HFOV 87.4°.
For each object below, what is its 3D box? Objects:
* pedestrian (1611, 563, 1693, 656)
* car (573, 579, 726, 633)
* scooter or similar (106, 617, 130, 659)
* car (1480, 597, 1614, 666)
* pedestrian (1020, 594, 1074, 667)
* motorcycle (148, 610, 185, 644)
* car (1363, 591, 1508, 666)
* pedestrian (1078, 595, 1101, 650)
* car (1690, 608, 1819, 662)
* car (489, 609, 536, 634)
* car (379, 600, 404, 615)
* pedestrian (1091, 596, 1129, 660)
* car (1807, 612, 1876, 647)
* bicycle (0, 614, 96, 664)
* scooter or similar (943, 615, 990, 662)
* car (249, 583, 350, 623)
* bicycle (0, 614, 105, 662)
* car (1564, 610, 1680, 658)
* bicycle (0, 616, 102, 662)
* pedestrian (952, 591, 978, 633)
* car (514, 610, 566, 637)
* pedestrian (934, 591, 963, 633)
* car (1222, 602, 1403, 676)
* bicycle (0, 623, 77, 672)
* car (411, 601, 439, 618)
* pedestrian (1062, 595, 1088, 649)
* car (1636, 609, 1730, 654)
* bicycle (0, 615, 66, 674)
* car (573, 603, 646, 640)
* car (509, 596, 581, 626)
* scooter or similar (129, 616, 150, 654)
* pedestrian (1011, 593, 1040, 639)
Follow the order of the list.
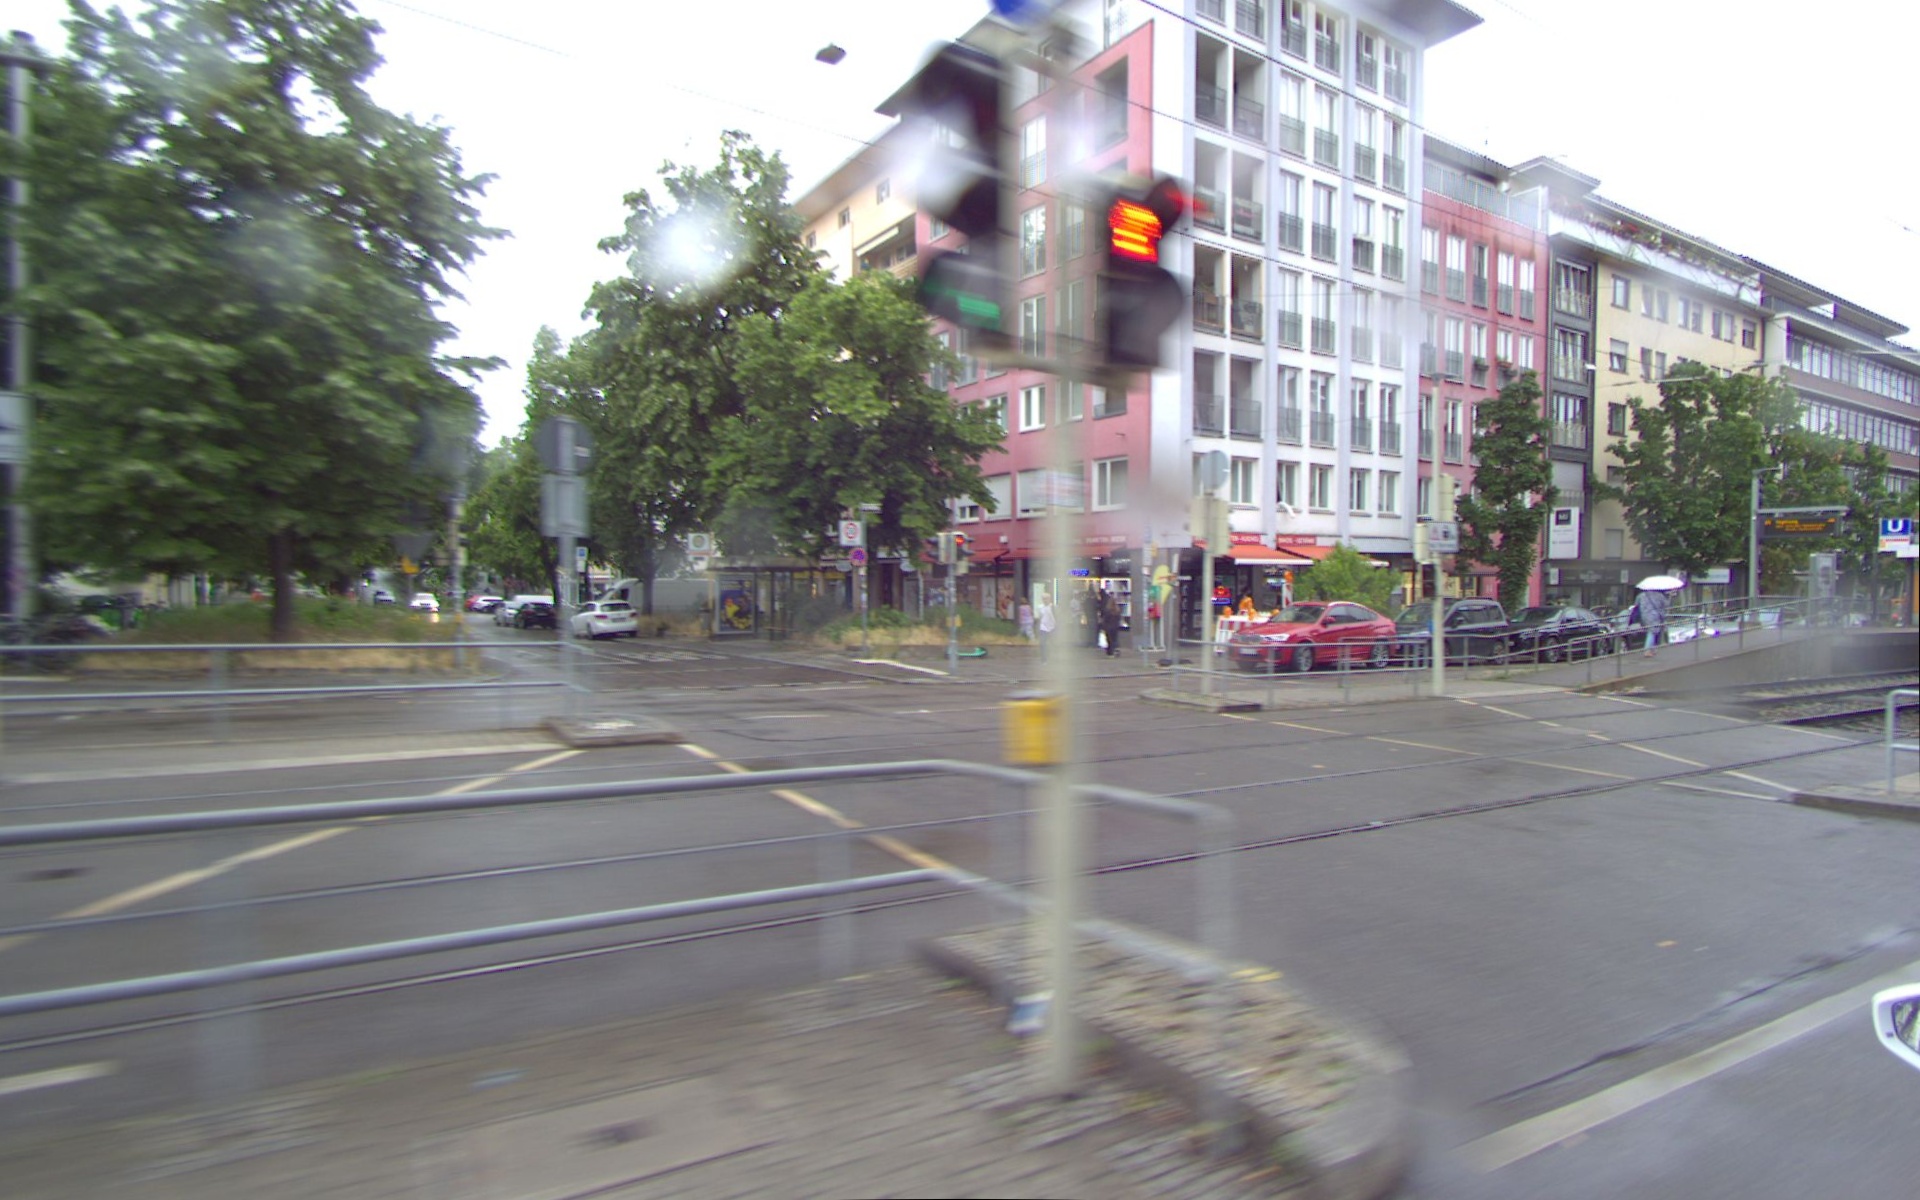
[{"bbox_3d":[15.776,0.222,22.911,1.368,2.040,1.109,1,-1,-33],"label":"pedestrian"},{"bbox_3d":[-15.574,0.330,50.628,7.019,2.568,2.402,1,-1,-32],"label":"car"},{"bbox_3d":[-20.729,0.920,24.724,0.280,0.994,1.123,1,-1,-32],"label":"scooter or similar"},{"bbox_3d":[17.198,0.886,29.371,4.338,1.883,1.790,1,0,-36],"label":"car"},{"bbox_3d":[2.131,0.729,24.528,0.978,1.720,0.812,1,2,-41],"label":"pedestrian"},{"bbox_3d":[-24.915,0.832,31.553,0.739,1.021,1.839,1,-1,-33],"label":"motorcycle"},{"bbox_3d":[12.933,0.731,27.226,4.279,1.883,1.695,1,0,-36],"label":"car"},{"bbox_3d":[4.015,0.690,31.166,0.535,1.653,0.574,2,1,21],"label":"pedestrian"},{"bbox_3d":[25.774,1.097,32.550,4.966,1.599,1.796,1,0,-33],"label":"car"},{"bbox_3d":[-26.924,1.281,60.372,2.074,1.392,4.411,1,-1,-31],"label":"car"},{"bbox_3d":[-54.286,0.729,95.812,1.977,1.392,3.967,1,-1,-31],"label":"car"},{"bbox_3d":[4.066,0.742,27.220,0.793,1.654,0.881,-1,2,-9],"label":"pedestrian"},{"bbox_3d":[39.341,1.287,44.809,3.700,1.455,1.557,1,0,-37],"label":"car"},{"bbox_3d":[-17.454,0.728,18.995,1.627,0.923,0.337,1,-1,-31],"label":"bicycle"},{"bbox_3d":[0.183,0.994,26.281,1.198,1.207,0.387,1,-1,-32],"label":"scooter or similar"},{"bbox_3d":[-38.523,0.205,58.647,4.815,2.239,1.890,1,0,-35],"label":"car"},{"bbox_3d":[-17.911,0.738,19.734,1.627,0.915,0.337,1,-1,-31],"label":"bicycle"},{"bbox_3d":[21.656,1.074,32.826,4.278,1.455,1.828,1,0,-37],"label":"car"},{"bbox_3d":[-17.607,0.751,19.307,1.627,0.854,0.335,1,-1,-31],"label":"bicycle"},{"bbox_3d":[0.174,0.405,34.393,0.644,1.424,0.556,1,2,-35],"label":"pedestrian"},{"bbox_3d":[-23.305,1.278,55.664,2.074,1.392,4.411,1,-1,-31],"label":"car"},{"bbox_3d":[-0.386,0.407,33.837,0.652,1.402,0.686,1,1,-35],"label":"pedestrian"},{"bbox_3d":[8.556,0.870,24.260,4.502,1.633,1.716,0,0,-32],"label":"car"},{"bbox_3d":[-16.469,0.821,17.467,1.629,0.827,0.337,1,-1,-34],"label":"bicycle"},{"bbox_3d":[-47.101,0.850,88.329,1.977,1.392,3.967,1,-1,-31],"label":"car"},{"bbox_3d":[3.626,0.691,31.736,0.570,1.653,0.610,3,1,31],"label":"pedestrian"},{"bbox_3d":[25.299,1.074,35.129,3.941,1.455,1.557,1,0,-37],"label":"car"},{"bbox_3d":[-15.995,0.726,16.526,1.853,0.972,0.477,1,-1,-34],"label":"bicycle"},{"bbox_3d":[-13.855,0.819,39.603,1.977,1.392,3.967,1,-1,-31],"label":"car"},{"bbox_3d":[-29.305,0.805,70.908,4.398,2.056,2.080,1,-1,-32],"label":"car"},{"bbox_3d":[-21.868,0.929,26.780,0.280,0.994,1.123,1,-1,-32],"label":"scooter or similar"},{"bbox_3d":[2.131,0.512,32.800,0.650,1.481,0.635,1,2,-35],"label":"pedestrian"}]
